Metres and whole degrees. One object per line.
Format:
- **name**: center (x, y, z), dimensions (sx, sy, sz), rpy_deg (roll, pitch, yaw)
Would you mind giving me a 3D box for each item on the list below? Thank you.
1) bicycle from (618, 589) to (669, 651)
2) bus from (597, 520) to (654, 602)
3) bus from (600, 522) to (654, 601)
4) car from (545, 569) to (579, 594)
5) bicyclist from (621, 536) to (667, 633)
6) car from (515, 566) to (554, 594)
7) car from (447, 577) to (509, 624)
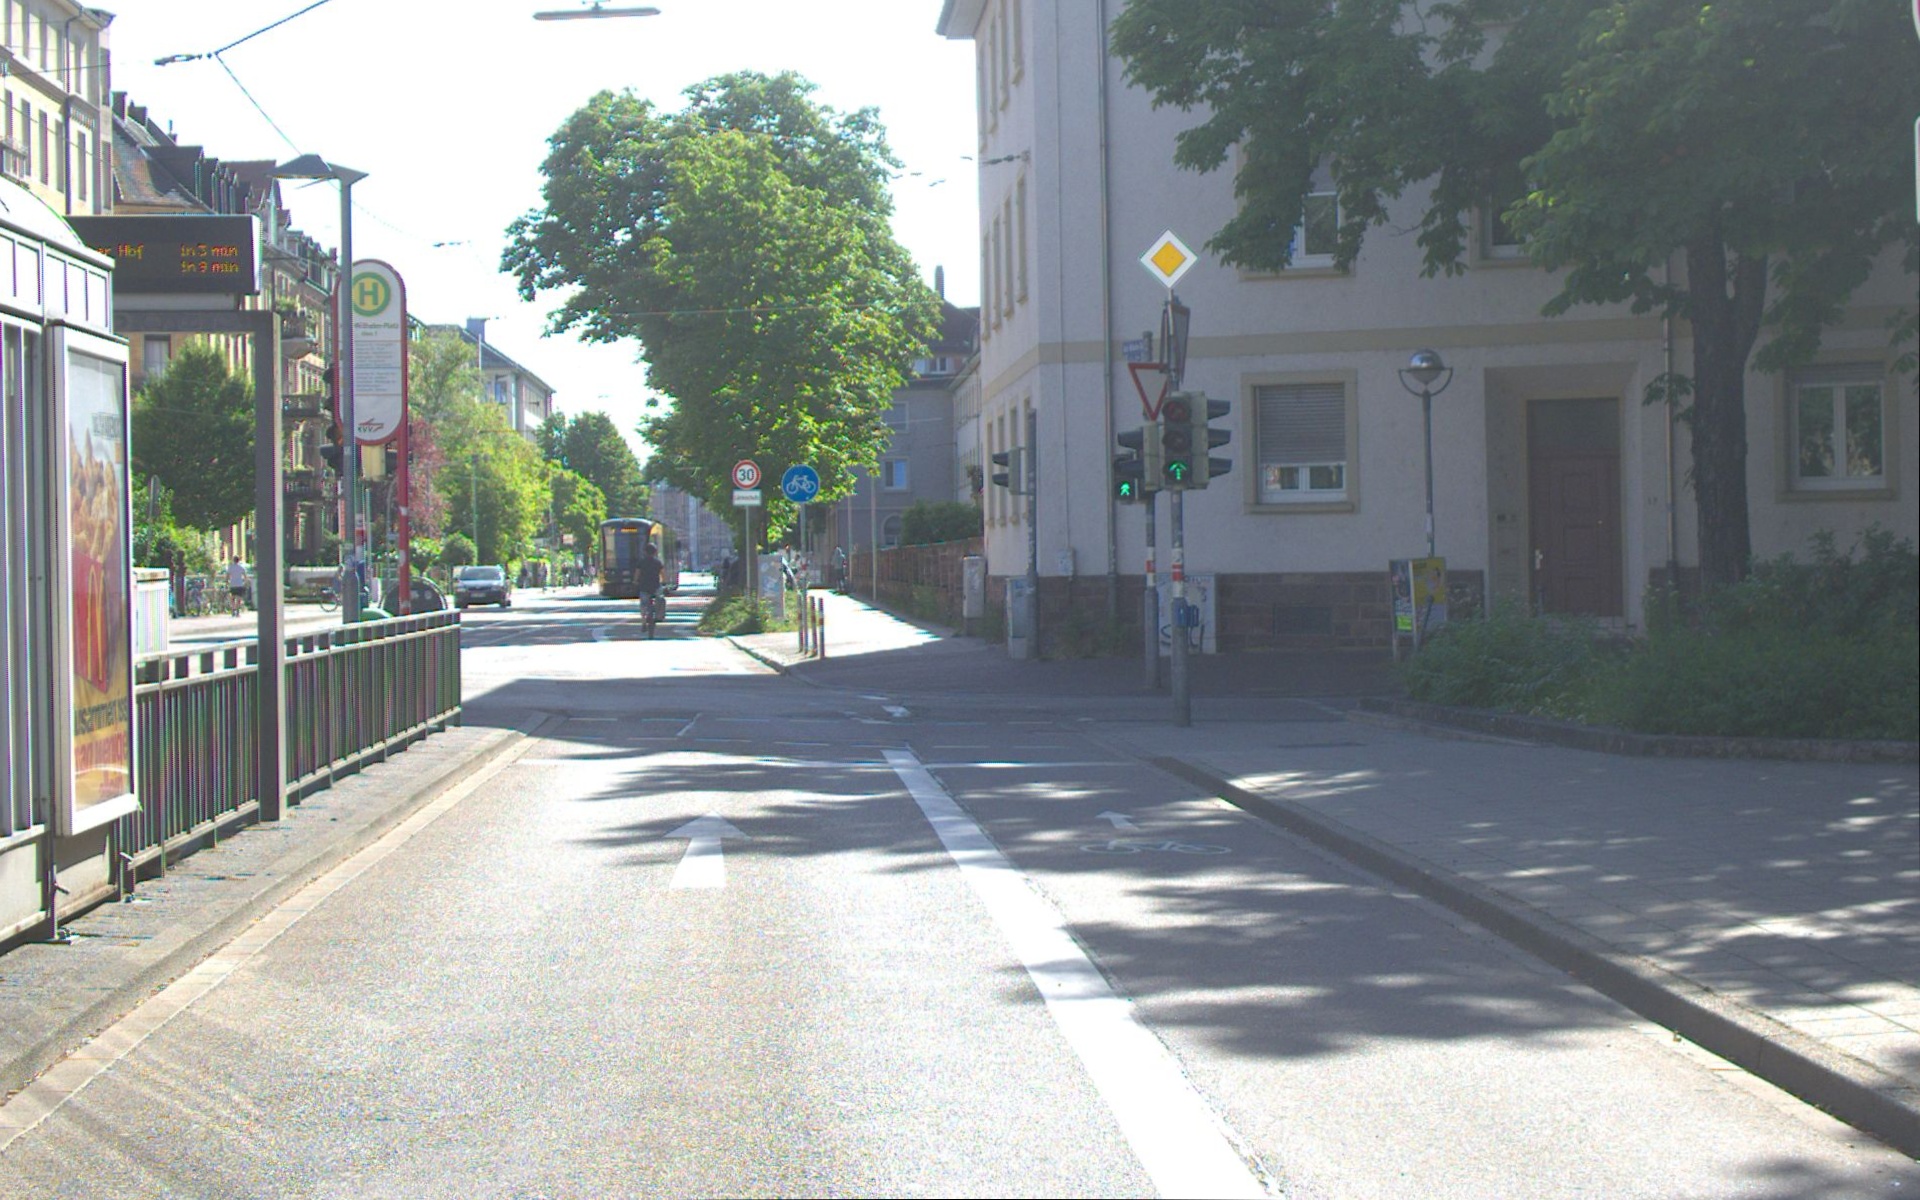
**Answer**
- **bicycle**: center (-5.945, 0.364, 64.733), dimensions (0.842, 1.152, 2.539), rpy_deg (0, 0, -3)
- **bus**: center (-14.522, -1.667, 149.387), dimensions (2.385, 3.484, 7.385), rpy_deg (0, 0, -5)
- **bus**: center (-15.173, -1.721, 156.775), dimensions (2.385, 3.484, 7.385), rpy_deg (0, 0, -5)
- **car**: center (-25.785, -1.205, 222.759), dimensions (1.993, 1.590, 4.000), rpy_deg (0, 0, -3)
- **bicyclist**: center (-5.933, -0.290, 64.584), dimensions (0.817, 1.805, 1.059), rpy_deg (0, 0, -3)
- **car**: center (-24.558, -1.126, 198.579), dimensions (1.993, 1.590, 4.000), rpy_deg (0, 0, -3)
- **car**: center (-16.705, 0.014, 119.310), dimensions (1.993, 1.590, 4.001), rpy_deg (0, 0, -6)
